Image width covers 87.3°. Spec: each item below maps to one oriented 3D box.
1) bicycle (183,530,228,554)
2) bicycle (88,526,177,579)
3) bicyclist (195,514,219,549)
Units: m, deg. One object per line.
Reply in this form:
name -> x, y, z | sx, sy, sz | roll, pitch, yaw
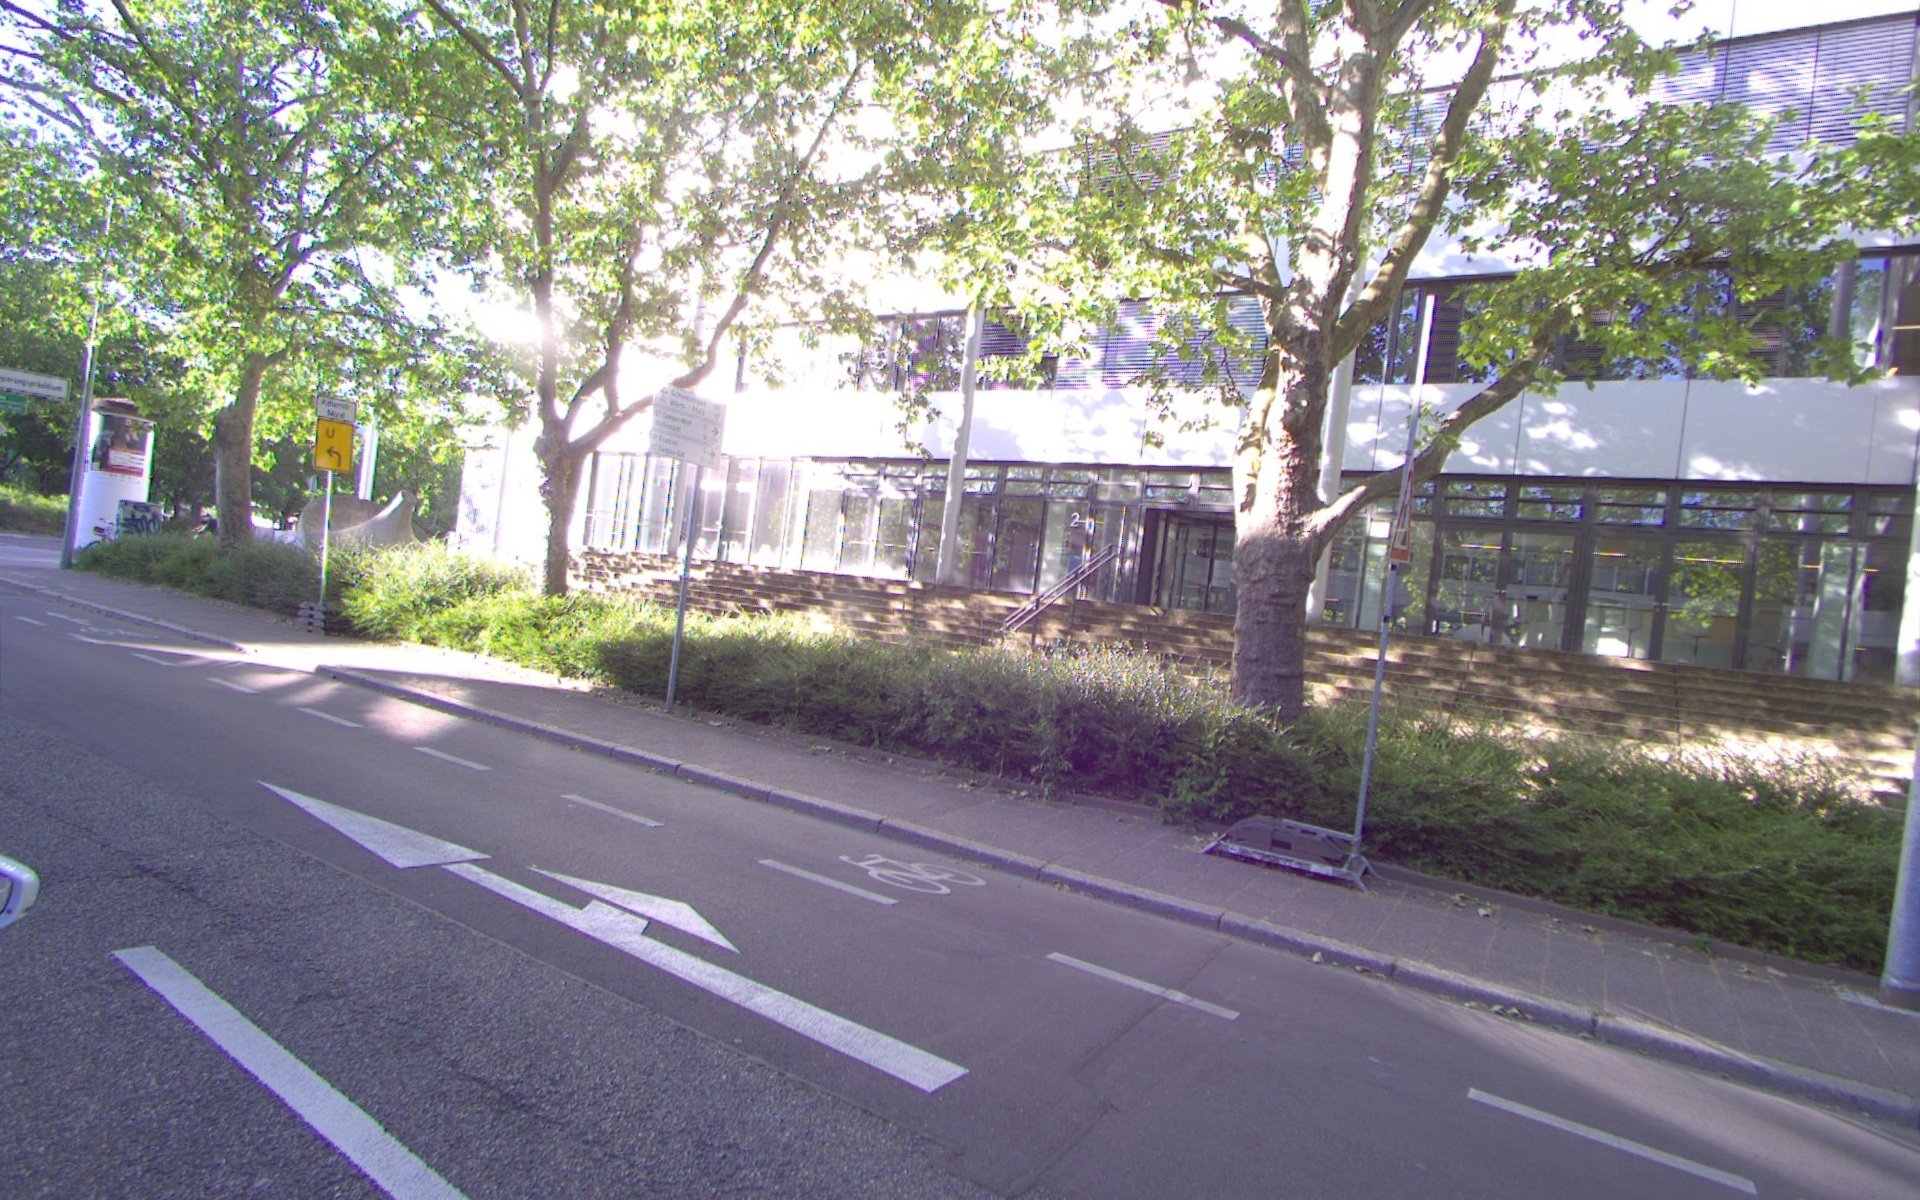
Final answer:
bicycle -> -31.722, -2.439, 42.325 | 0.504, 0.810, 1.370 | 6, -2, 35
bicycle -> -19.038, -1.073, 23.175 | 0.295, 0.991, 1.484 | 6, -2, 37
bicyclist -> -31.677, -2.867, 42.314 | 0.534, 1.363, 0.523 | 6, -1, 35
